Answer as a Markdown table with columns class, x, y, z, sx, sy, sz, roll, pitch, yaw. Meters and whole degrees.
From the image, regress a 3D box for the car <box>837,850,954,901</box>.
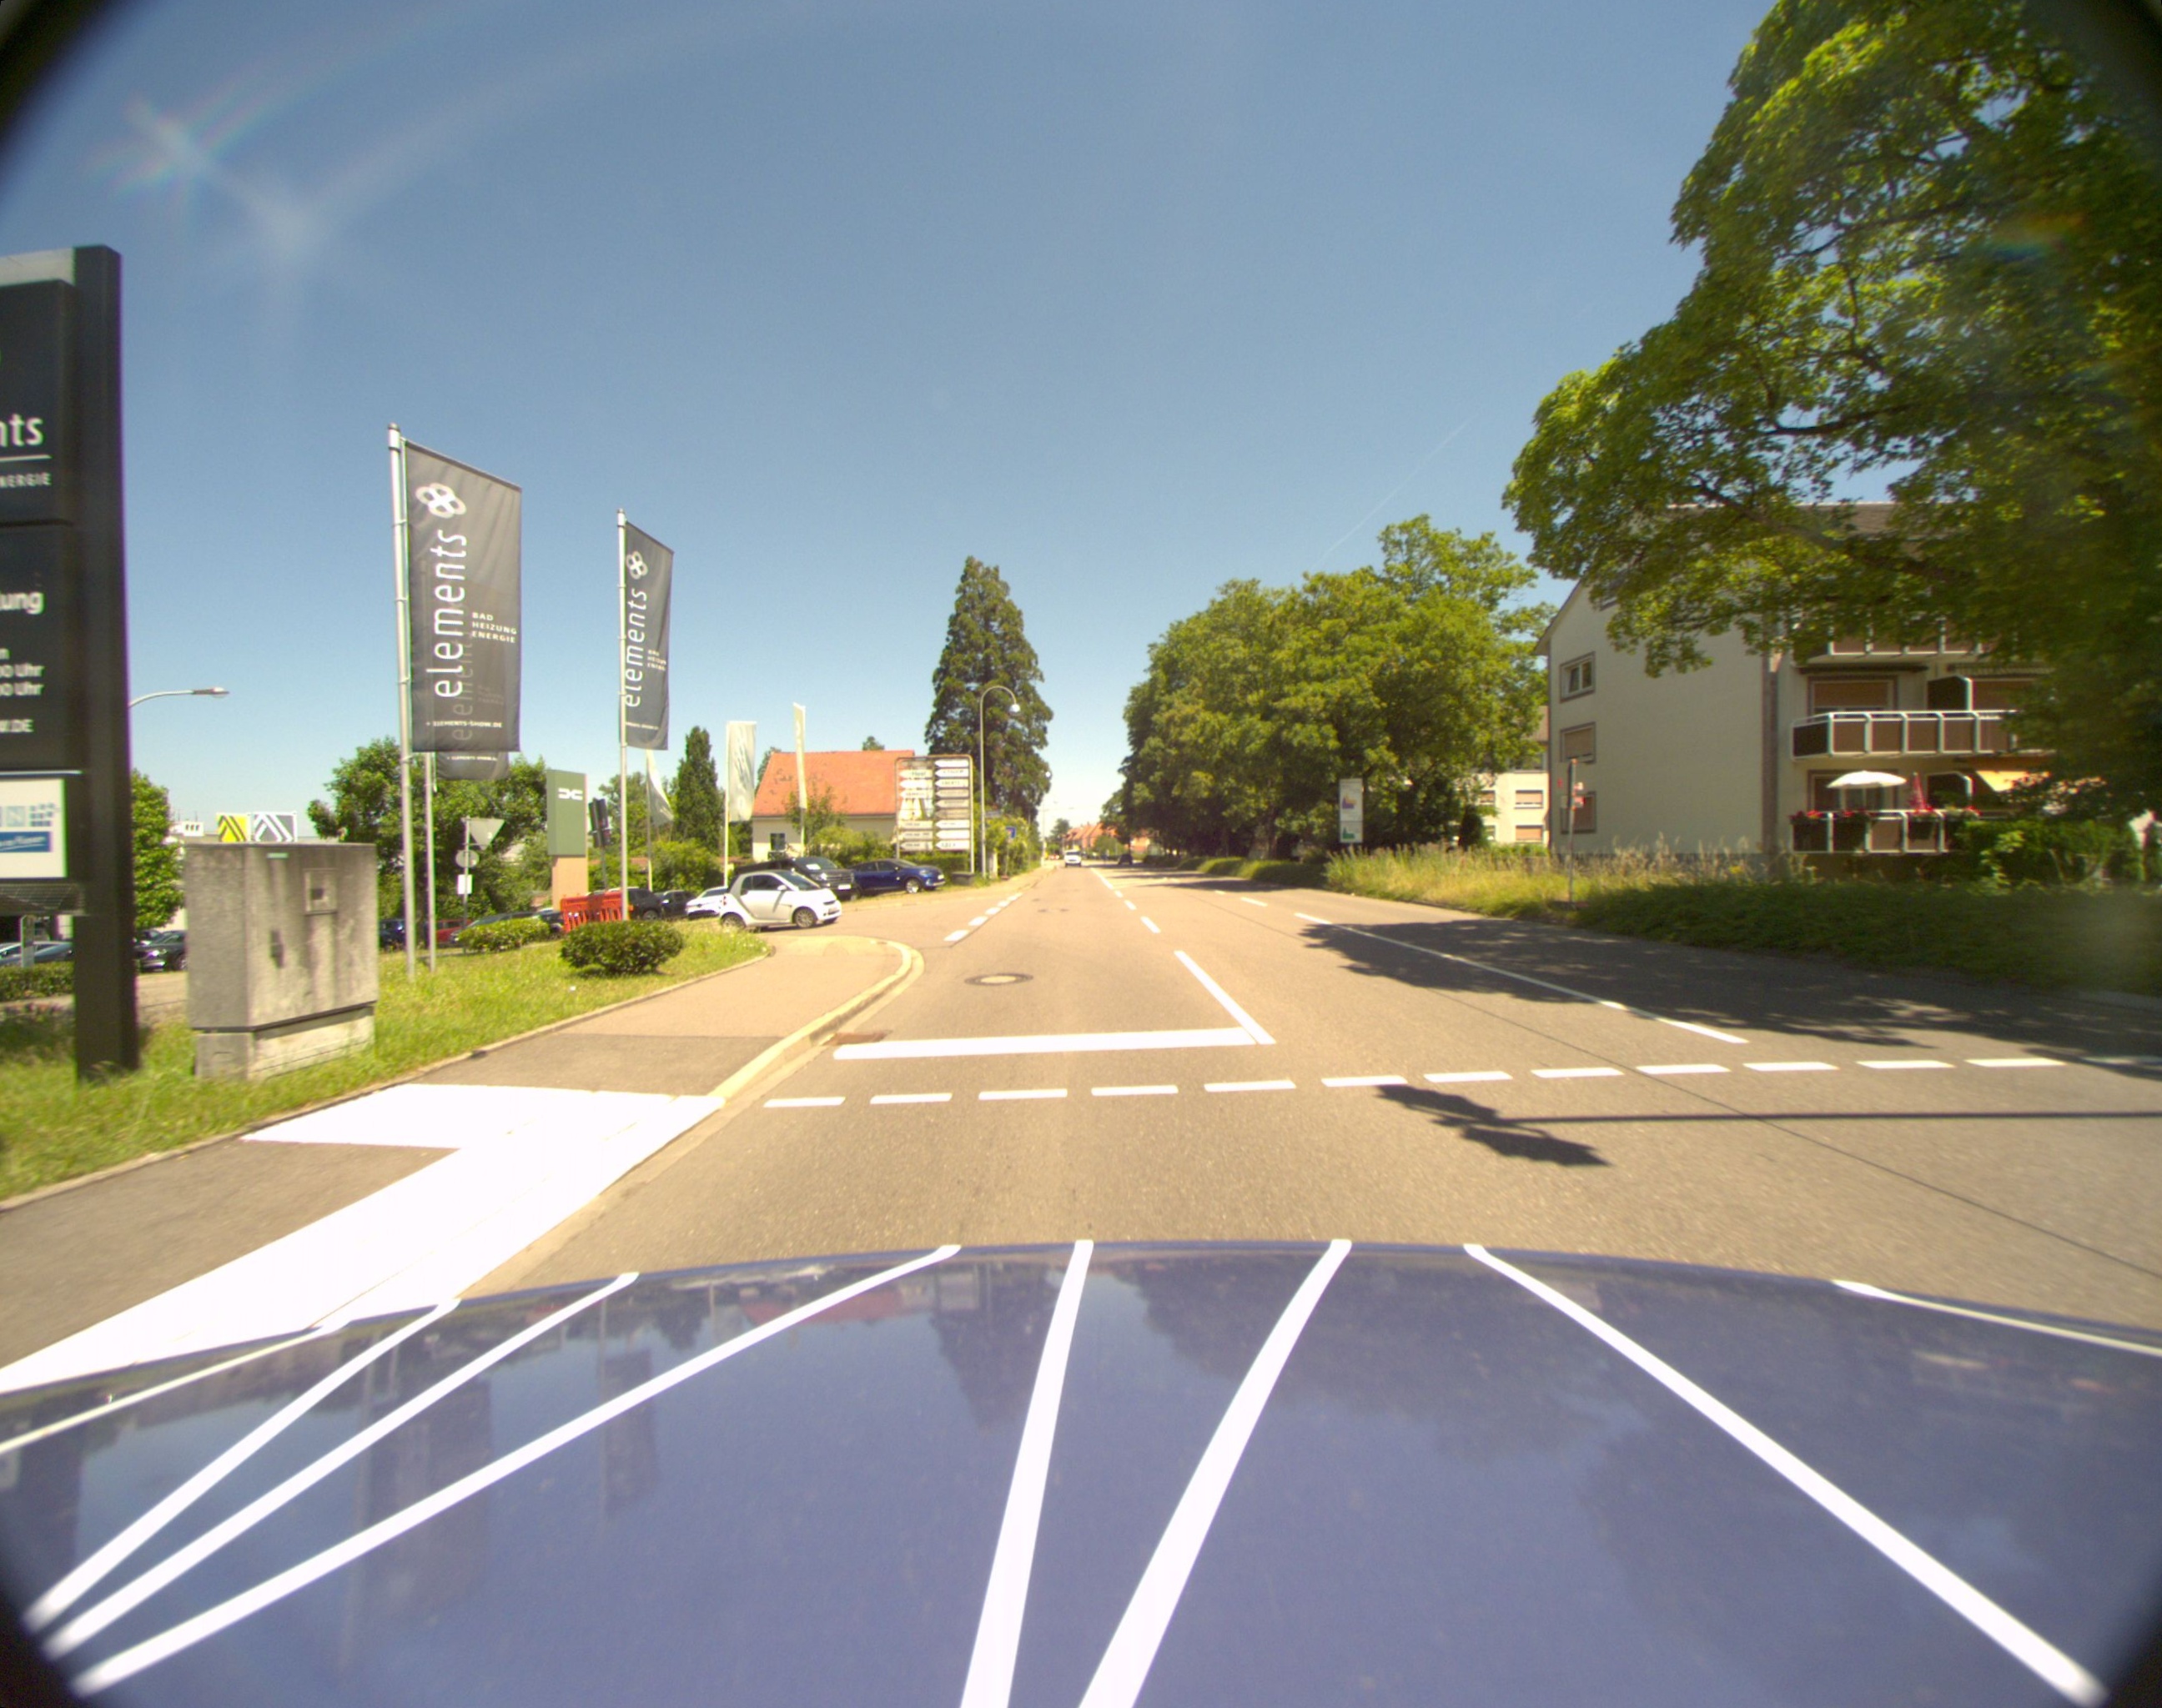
| class | x | y | z | sx | sy | sz | roll | pitch | yaw |
| --- | --- | --- | --- | --- | --- | --- | --- | --- | --- |
| car | -7.549 | 0.857 | 31.071 | 4.075 | 1.505 | 1.857 | -7 | 2 | 12 |

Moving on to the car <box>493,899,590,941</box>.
| class | x | y | z | sx | sy | sz | roll | pitch | yaw |
| --- | --- | --- | --- | --- | --- | --- | --- | --- | --- |
| car | -26.441 | 3.190 | 37.447 | 1.874 | 1.693 | 4.000 | -2 | 0 | 0 |

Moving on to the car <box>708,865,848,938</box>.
| class | x | y | z | sx | sy | sz | roll | pitch | yaw |
| --- | --- | --- | --- | --- | --- | --- | --- | --- | --- |
| car | -7.688 | 1.183 | 19.452 | 2.773 | 1.511 | 1.596 | -4 | 3 | 6 |

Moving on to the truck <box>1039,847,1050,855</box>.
| class | x | y | z | sx | sy | sz | roll | pitch | yaw |
| --- | --- | --- | --- | --- | --- | --- | --- | --- | --- |
| truck | -10.452 | -0.867 | 218.701 | 2.020 | 2.295 | 6.170 | -4 | 0 | -12 |

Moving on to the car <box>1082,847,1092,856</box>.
| class | x | y | z | sx | sy | sz | roll | pitch | yaw |
| --- | --- | --- | --- | --- | --- | --- | --- | --- | --- |
| car | 1.398 | -0.678 | 183.488 | 1.999 | 1.899 | 4.987 | -2 | 2 | -3 |

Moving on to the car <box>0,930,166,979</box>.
| class | x | y | z | sx | sy | sz | roll | pitch | yaw |
| --- | --- | --- | --- | --- | --- | --- | --- | --- | --- |
| car | -39.309 | 3.896 | 29.793 | 1.777 | 1.380 | 4.002 | -2 | 0 | 8 |

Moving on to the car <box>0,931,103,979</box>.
| class | x | y | z | sx | sy | sz | roll | pitch | yaw |
| --- | --- | --- | --- | --- | --- | --- | --- | --- | --- |
| car | -42.133 | 4.035 | 29.956 | 1.777 | 1.514 | 4.002 | -2 | 0 | 8 |

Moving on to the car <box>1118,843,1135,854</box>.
| class | x | y | z | sx | sy | sz | roll | pitch | yaw |
| --- | --- | --- | --- | --- | --- | --- | --- | --- | --- |
| car | 5.957 | -0.729 | 99.650 | 1.726 | 1.419 | 4.146 | -2 | 1 | -2 |

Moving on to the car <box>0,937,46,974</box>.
| class | x | y | z | sx | sy | sz | roll | pitch | yaw |
| --- | --- | --- | --- | --- | --- | --- | --- | --- | --- |
| car | -44.704 | 4.197 | 30.077 | 1.777 | 1.380 | 4.002 | -2 | 0 | 8 |

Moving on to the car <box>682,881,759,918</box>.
| class | x | y | z | sx | sy | sz | roll | pitch | yaw |
| --- | --- | --- | --- | --- | --- | --- | --- | --- | --- |
| car | -16.883 | 2.143 | 35.804 | 1.829 | 1.482 | 4.144 | -4 | -3 | -5 |

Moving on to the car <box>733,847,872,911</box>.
| class | x | y | z | sx | sy | sz | roll | pitch | yaw |
| --- | --- | --- | --- | --- | --- | --- | --- | --- | --- |
| car | -10.685 | 0.980 | 29.037 | 5.265 | 1.888 | 2.001 | -6 | -1 | 32 |

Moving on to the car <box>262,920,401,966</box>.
| class | x | y | z | sx | sy | sz | roll | pitch | yaw |
| --- | --- | --- | --- | --- | --- | --- | --- | --- | --- |
| car | -28.139 | 3.296 | 28.717 | 1.716 | 1.364 | 3.999 | -4 | -3 | -10 |

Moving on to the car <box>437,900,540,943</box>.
| class | x | y | z | sx | sy | sz | roll | pitch | yaw |
| --- | --- | --- | --- | --- | --- | --- | --- | --- | --- |
| car | -29.033 | 3.279 | 37.381 | 1.874 | 1.693 | 4.000 | -2 | 0 | 0 |

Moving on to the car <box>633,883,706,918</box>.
| class | x | y | z | sx | sy | sz | roll | pitch | yaw |
| --- | --- | --- | --- | --- | --- | --- | --- | --- | --- |
| car | -20.395 | 2.336 | 37.809 | 1.739 | 1.498 | 3.435 | -5 | -4 | -1 |

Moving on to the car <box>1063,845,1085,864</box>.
| class | x | y | z | sx | sy | sz | roll | pitch | yaw |
| --- | --- | --- | --- | --- | --- | --- | --- | --- | --- |
| car | -0.821 | 0.077 | 87.987 | 1.999 | 2.002 | 4.384 | -2 | 0 | -6 |

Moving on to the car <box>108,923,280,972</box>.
| class | x | y | z | sx | sy | sz | roll | pitch | yaw |
| --- | --- | --- | --- | --- | --- | --- | --- | --- | --- |
| car | -34.609 | 3.600 | 29.864 | 1.872 | 1.525 | 4.411 | -4 | -4 | -7 |

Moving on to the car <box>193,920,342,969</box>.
| class | x | y | z | sx | sy | sz | roll | pitch | yaw |
| --- | --- | --- | --- | --- | --- | --- | --- | --- | --- |
| car | -30.762 | 3.373 | 28.923 | 1.752 | 1.525 | 4.088 | -4 | -4 | -10 |

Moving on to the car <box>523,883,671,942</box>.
| class | x | y | z | sx | sy | sz | roll | pitch | yaw |
| --- | --- | --- | --- | --- | --- | --- | --- | --- | --- |
| car | -17.720 | 2.093 | 28.124 | 1.826 | 1.648 | 4.372 | -4 | 1 | 17 |
